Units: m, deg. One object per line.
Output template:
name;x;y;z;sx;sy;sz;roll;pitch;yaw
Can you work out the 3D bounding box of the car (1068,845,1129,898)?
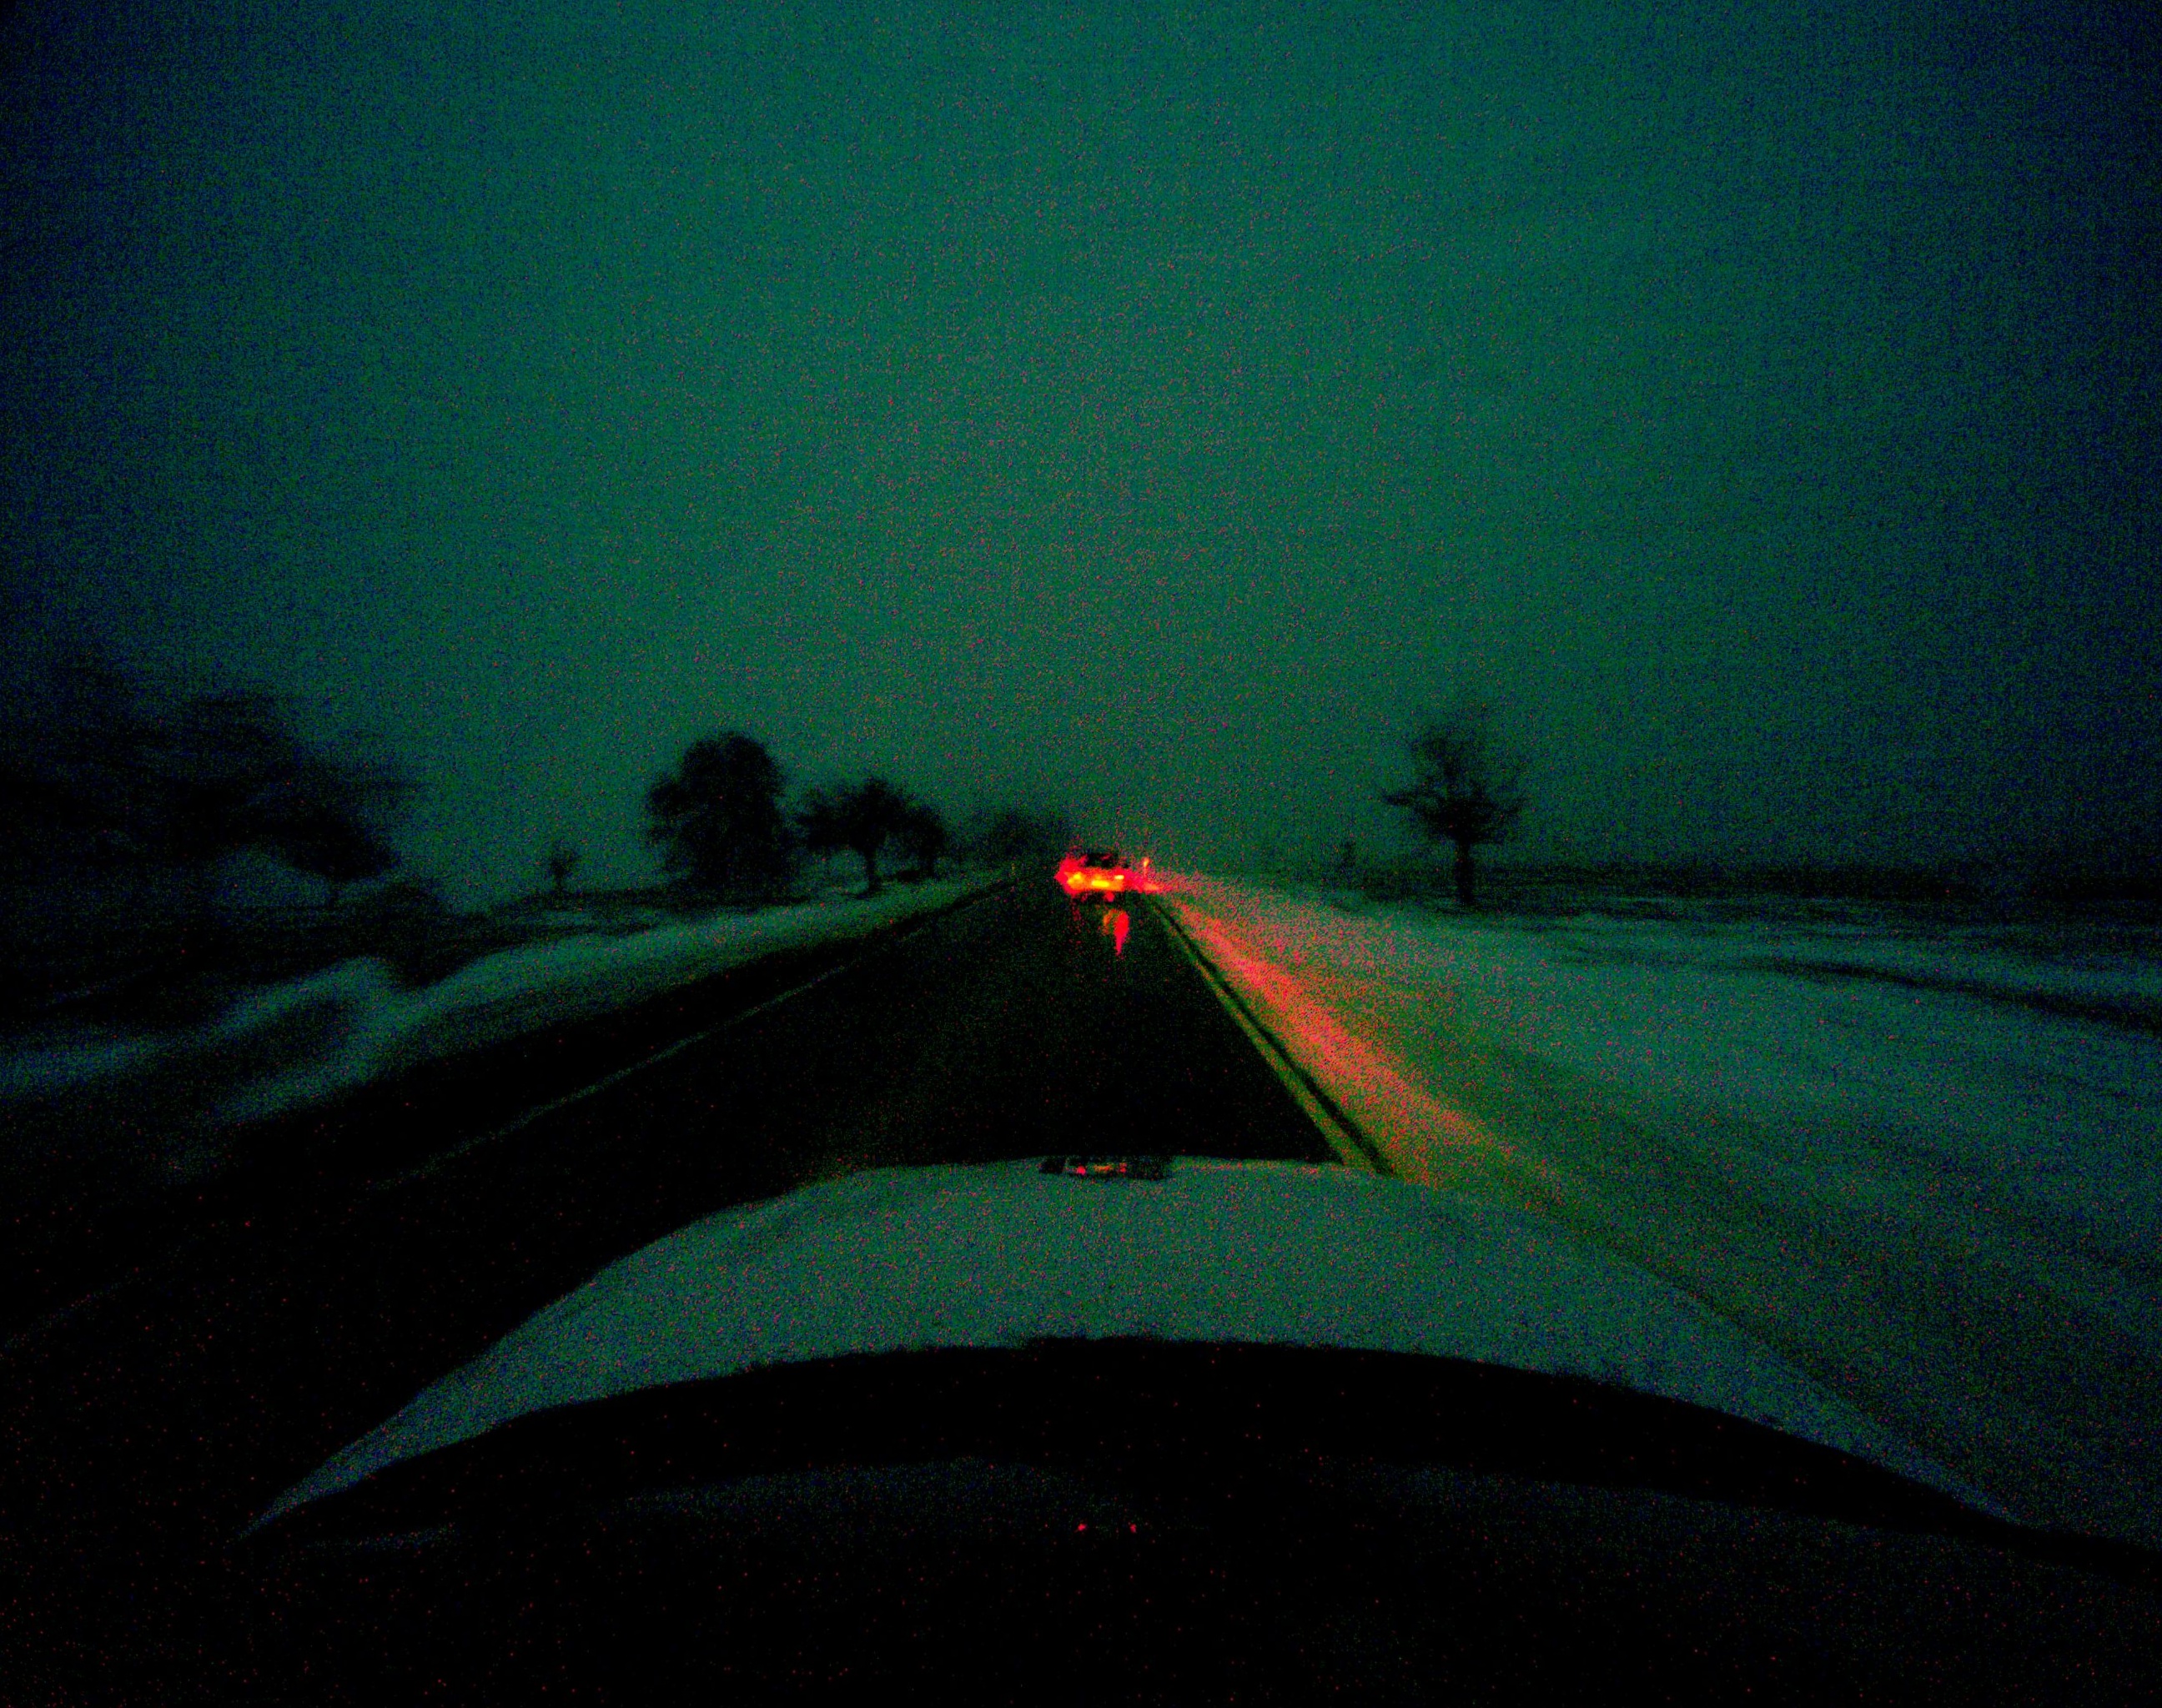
car;0.570;0.486;24.760;1.700;1.463;4.002;0;0;2
